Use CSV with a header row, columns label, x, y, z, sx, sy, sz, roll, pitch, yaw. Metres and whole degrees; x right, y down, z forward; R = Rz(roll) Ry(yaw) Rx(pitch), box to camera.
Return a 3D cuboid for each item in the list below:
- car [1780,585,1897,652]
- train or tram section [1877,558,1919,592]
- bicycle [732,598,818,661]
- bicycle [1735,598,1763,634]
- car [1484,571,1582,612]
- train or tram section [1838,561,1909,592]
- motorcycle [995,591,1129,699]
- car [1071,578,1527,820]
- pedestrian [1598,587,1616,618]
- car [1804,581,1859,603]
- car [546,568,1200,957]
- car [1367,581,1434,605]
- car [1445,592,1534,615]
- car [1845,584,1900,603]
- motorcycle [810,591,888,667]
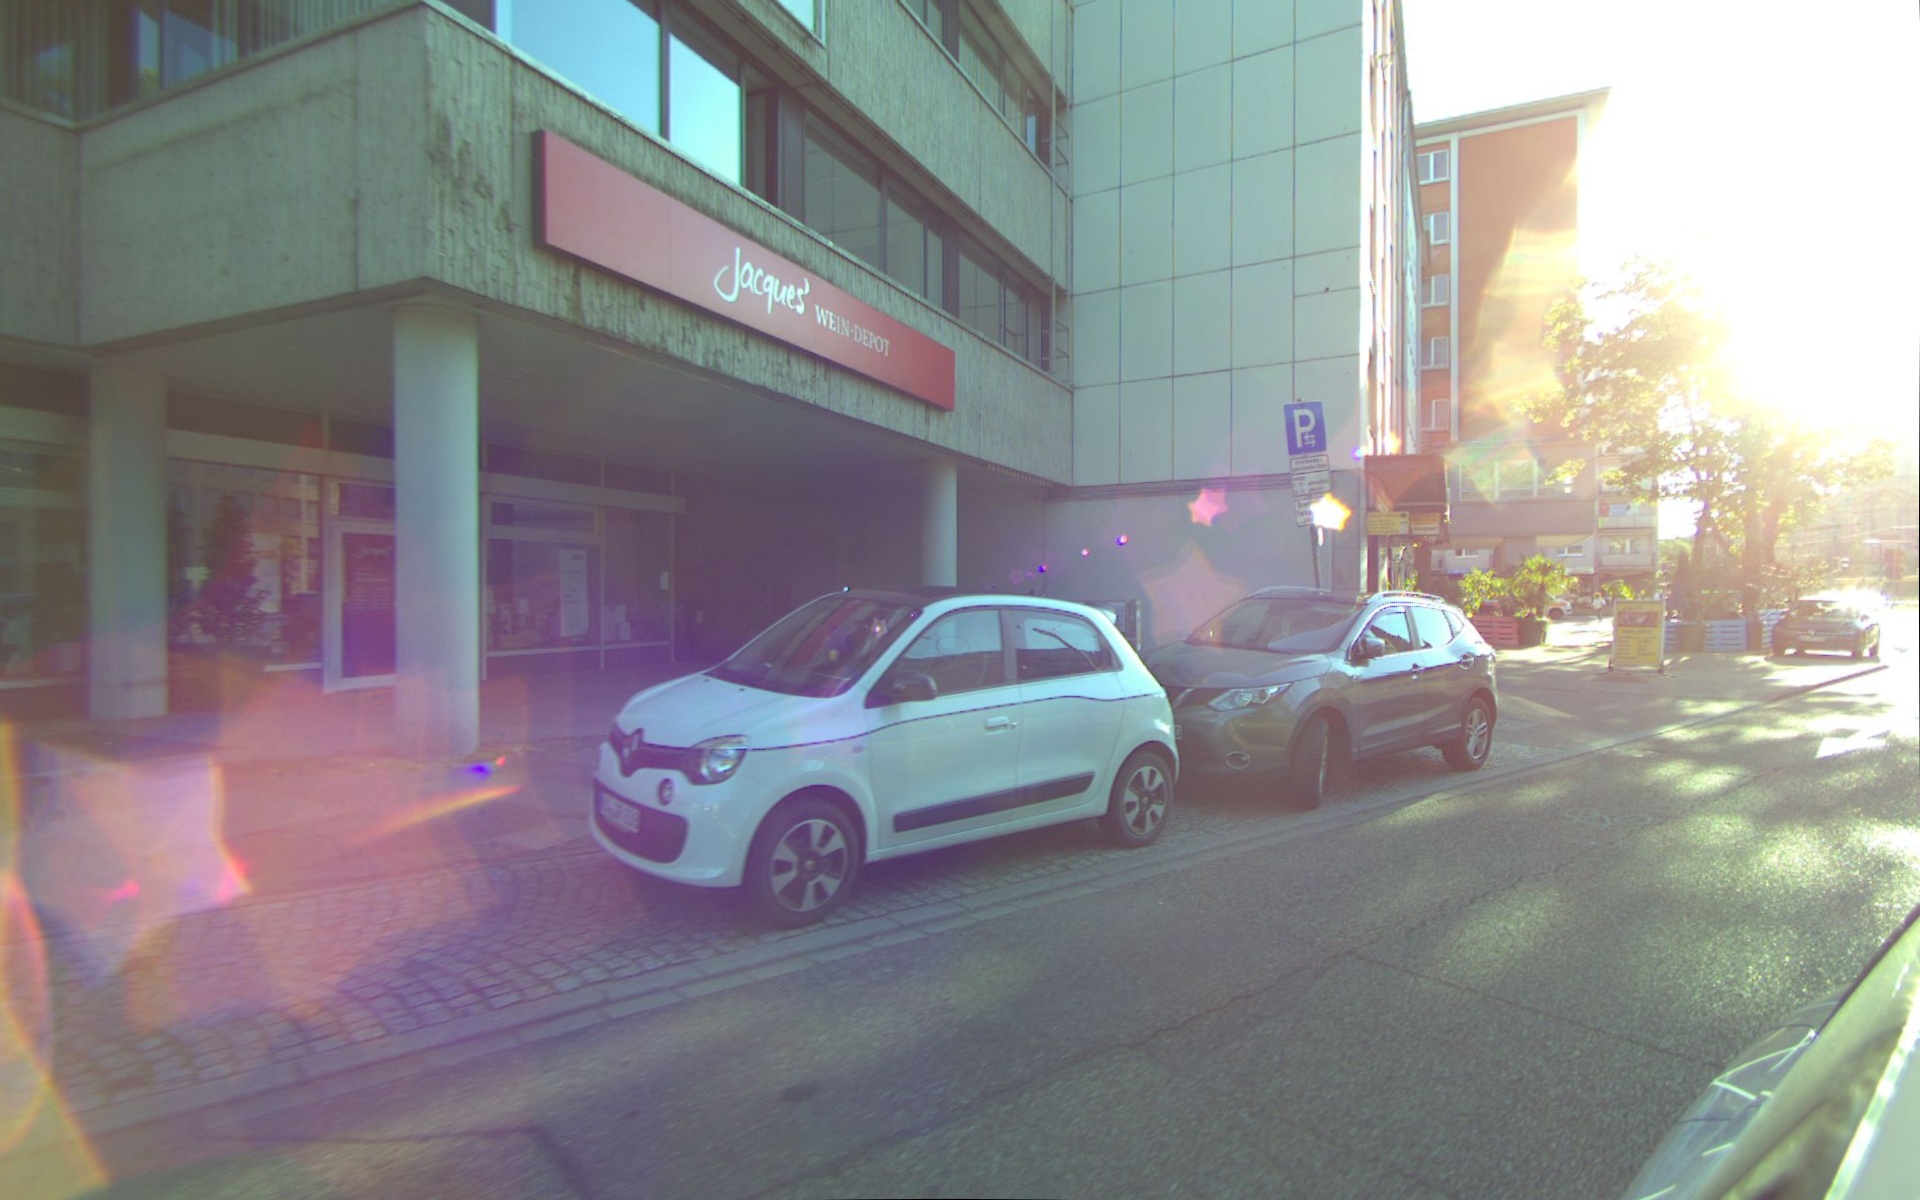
label,x,y,z,sx,sy,sz,roll,pitch,yaw
car,21.988,0.404,25.284,3.832,1.490,1.731,-1,3,-42
train or tram section,106.065,-2.733,112.207,2.754,3.580,13.133,0,0,26
bicycle,-3.490,0.525,19.026,1.860,1.087,0.477,2,1,38
bicycle,26.119,0.520,33.524,0.418,1.172,1.738,0,-1,28
car,36.035,-0.523,63.809,5.216,2.514,1.907,0,0,28
train or tram section,111.742,-2.843,124.034,2.754,3.580,13.133,0,0,26
motorcycle,1.365,0.570,13.736,1.780,1.348,0.575,2,2,39
car,3.075,0.631,8.786,4.158,1.575,1.786,-1,3,-39
pedestrian,35.949,0.140,56.233,0.723,1.683,0.897,0,0,28
car,74.761,-0.696,86.905,1.933,1.734,4.817,-3,-1,21
car,-0.339,0.632,5.933,3.547,1.575,1.611,-1,3,-41
car,29.234,-0.464,67.140,4.044,1.591,1.582,0,0,26
car,31.590,0.219,60.497,4.634,1.358,1.821,0,0,29
car,71.903,-0.516,79.807,1.823,1.419,4.547,-3,-1,24
motorcycle,-1.932,0.473,17.334,0.519,1.220,2.021,0,0,-31
